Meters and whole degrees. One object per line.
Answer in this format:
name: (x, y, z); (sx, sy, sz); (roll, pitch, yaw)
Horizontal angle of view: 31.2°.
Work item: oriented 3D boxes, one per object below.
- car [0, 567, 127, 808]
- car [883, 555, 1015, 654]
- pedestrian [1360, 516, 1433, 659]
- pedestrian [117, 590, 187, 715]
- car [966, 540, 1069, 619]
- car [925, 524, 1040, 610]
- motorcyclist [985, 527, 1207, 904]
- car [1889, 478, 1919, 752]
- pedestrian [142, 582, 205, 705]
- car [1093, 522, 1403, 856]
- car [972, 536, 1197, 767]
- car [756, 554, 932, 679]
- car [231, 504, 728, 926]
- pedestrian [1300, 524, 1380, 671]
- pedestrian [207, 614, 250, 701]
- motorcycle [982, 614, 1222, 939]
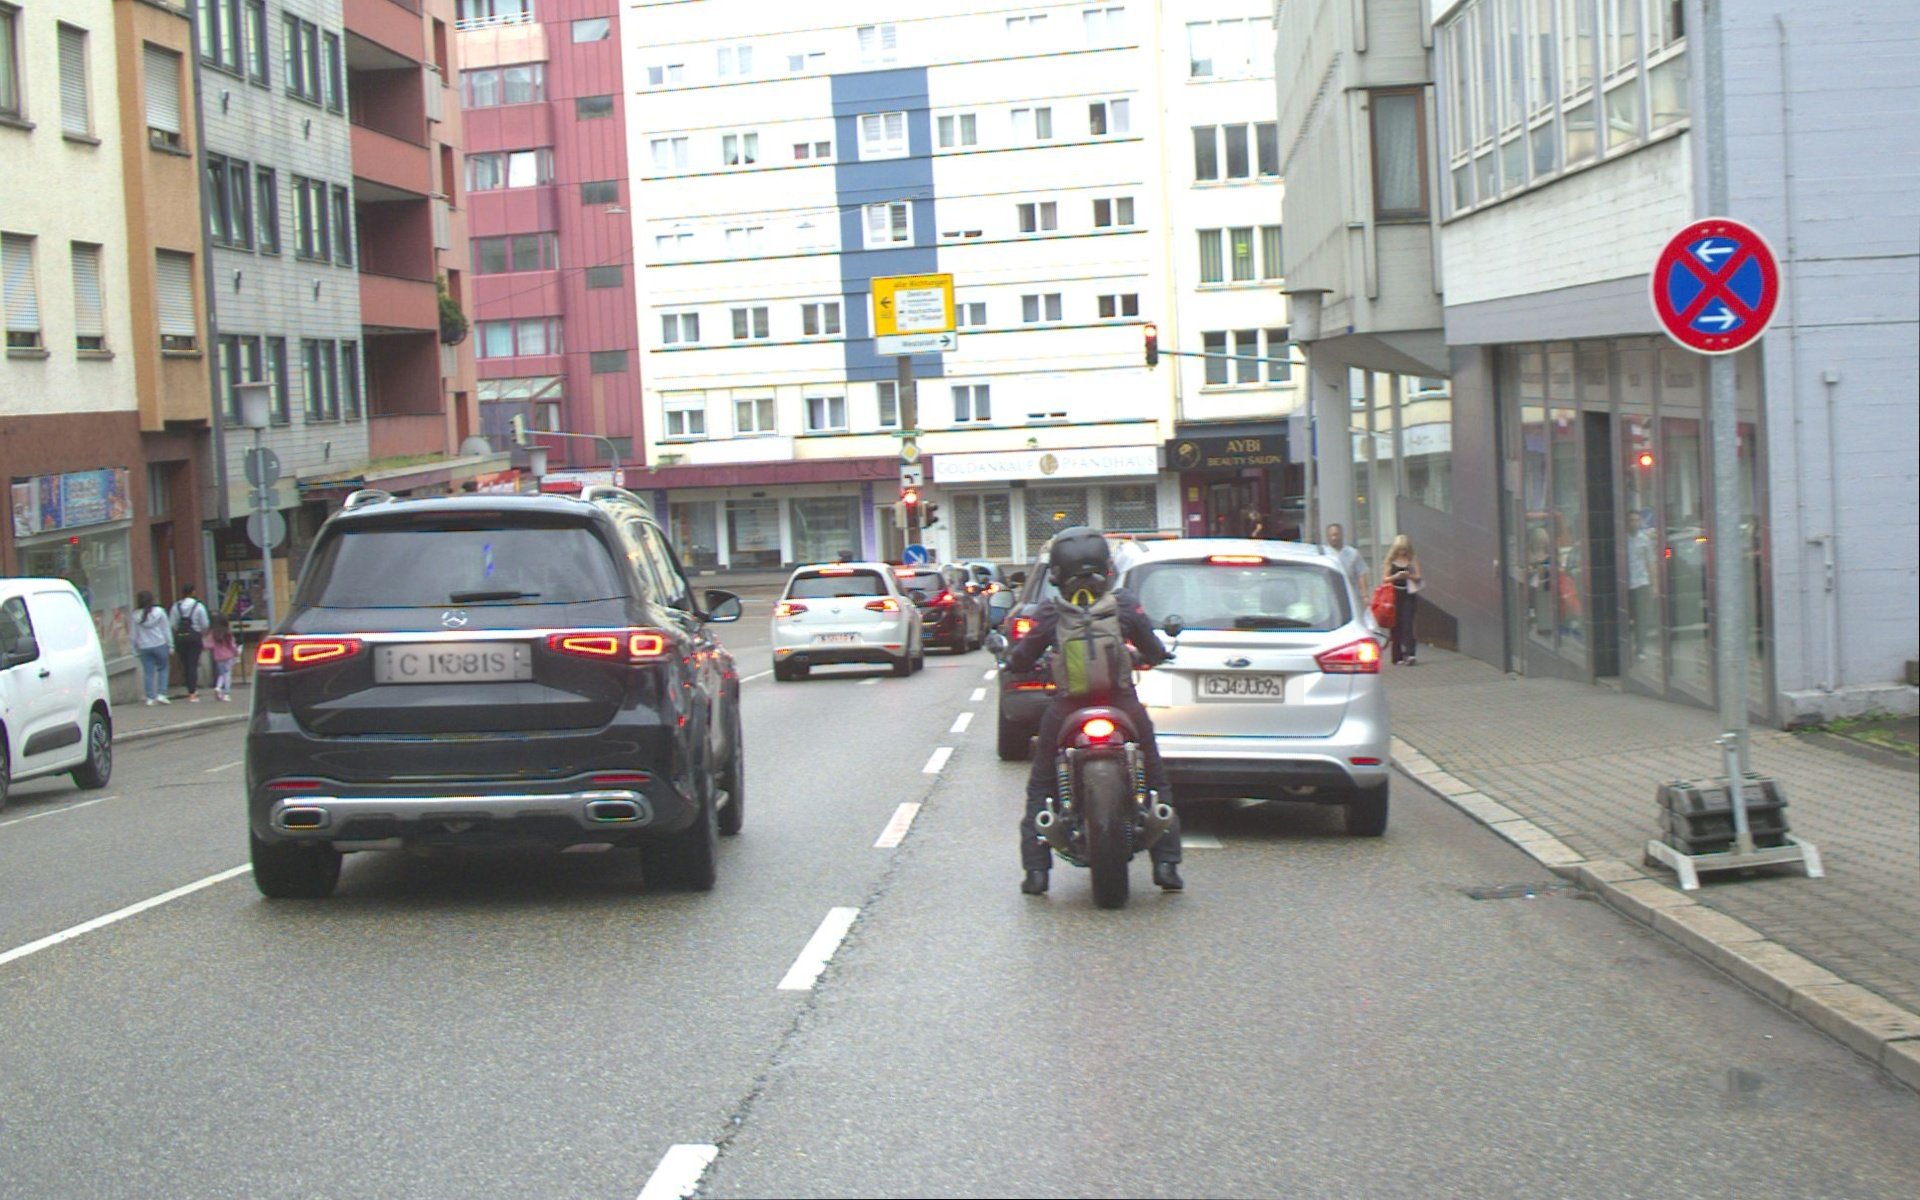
car: (-8.058, 0.714, 26.776); (1.869, 1.747, 4.399); (-5, 1, 1)
car: (-0.140, 0.041, 55.923); (1.885, 1.497, 4.399); (-1, 1, 3)
pedestrian: (5.050, -0.147, 39.803); (0.717, 1.606, 0.611); (-2, 3, -1)
pedestrian: (-11.141, 0.720, 47.400); (0.739, 1.646, 0.606); (-2, 5, -1)
car: (1.183, -0.436, 68.704); (1.885, 1.497, 4.399); (-1, 1, 3)
car: (0.449, -0.620, 63.004); (1.885, 1.497, 4.399); (-1, 1, 3)
motorcyclist: (0.574, 0.487, 14.855); (0.867, 1.555, 0.764); (-2, 0, -1)
car: (7.648, 0.052, 19.939); (3.986, 1.592, 1.800); (-1, 0, -16)
pedestrian: (-11.047, 0.605, 48.292); (0.671, 1.646, 0.606); (-2, 5, -1)
car: (1.528, 0.420, 19.080); (1.416, 1.645, 3.107); (-2, 2, 0)
car: (0.878, 0.335, 25.642); (1.522, 1.543, 3.107); (-2, 2, 0)
car: (-1.457, 0.172, 44.693); (1.885, 1.497, 4.399); (-1, 1, 3)
car: (-2.149, 0.433, 16.641); (2.020, 1.733, 4.748); (-1, 1, -4)
pedestrian: (4.292, -0.036, 38.881); (0.769, 1.606, 0.704); (-2, 3, -1)
pedestrian: (-10.316, 0.812, 48.470); (0.425, 1.158, 0.587); (-2, 5, -1)
motorcycle: (0.570, 0.706, 14.905); (0.867, 1.182, 2.562); (-2, 1, -1)
